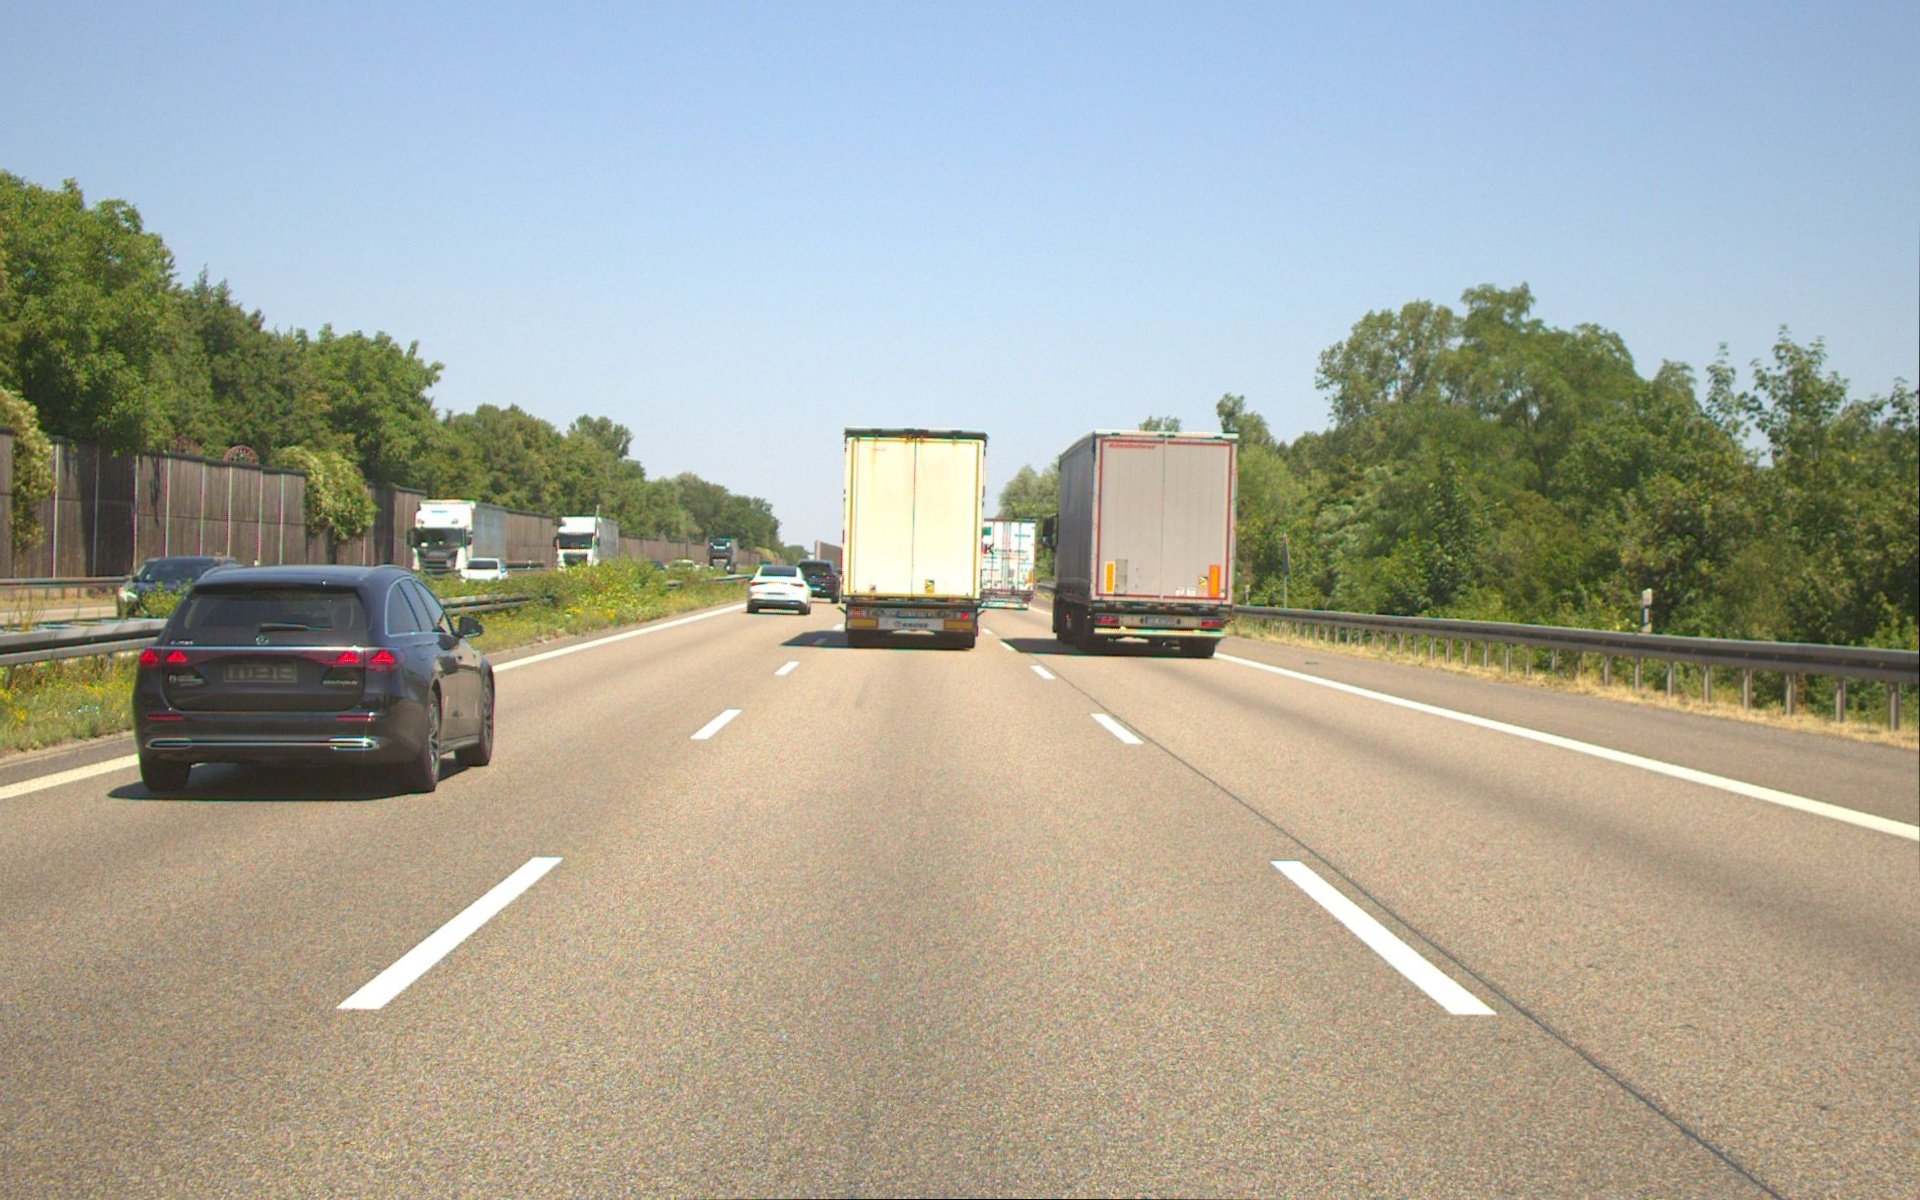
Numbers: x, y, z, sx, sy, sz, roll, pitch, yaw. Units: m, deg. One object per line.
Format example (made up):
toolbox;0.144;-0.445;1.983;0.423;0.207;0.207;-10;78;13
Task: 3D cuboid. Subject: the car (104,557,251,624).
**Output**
car;-17.649;-0.232;77.787;1.865;1.436;5.085;1;0;3

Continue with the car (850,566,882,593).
car;-5.865;-1.276;213.884;1.855;1.611;4.001;1;1;-3

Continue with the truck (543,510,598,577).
truck;-25.054;-3.617;221.483;2.833;4.169;7.143;1;0;-1

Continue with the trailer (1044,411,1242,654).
trailer;3.383;-1.239;66.994;2.703;4.201;13.213;2;0;-1

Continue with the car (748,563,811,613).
car;-5.479;-0.385;104.449;1.855;1.481;4.000;1;1;-3

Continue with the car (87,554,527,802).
car;-4.356;0.440;23.904;1.943;1.501;5.821;0;1;0

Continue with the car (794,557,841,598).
car;-5.785;-0.906;139.094;1.855;1.611;4.001;1;1;-3

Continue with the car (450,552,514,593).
car;-19.182;-1.116;138.109;1.993;1.585;4.493;1;0;-1

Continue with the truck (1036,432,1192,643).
truck;3.212;-1.297;73.607;2.691;4.201;7.839;2;0;-1

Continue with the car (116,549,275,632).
car;-13.943;-0.189;62.936;1.957;1.441;4.459;1;0;-1

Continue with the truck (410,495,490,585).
truck;-23.509;-2.745;158.757;2.757;4.008;6.735;2;0;-2

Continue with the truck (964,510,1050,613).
truck;2.058;-1.744;156.463;3.374;4.289;11.450;4;1;-1

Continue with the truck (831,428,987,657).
truck;-1.085;-1.089;68.765;2.707;4.072;13.474;2;0;-1
